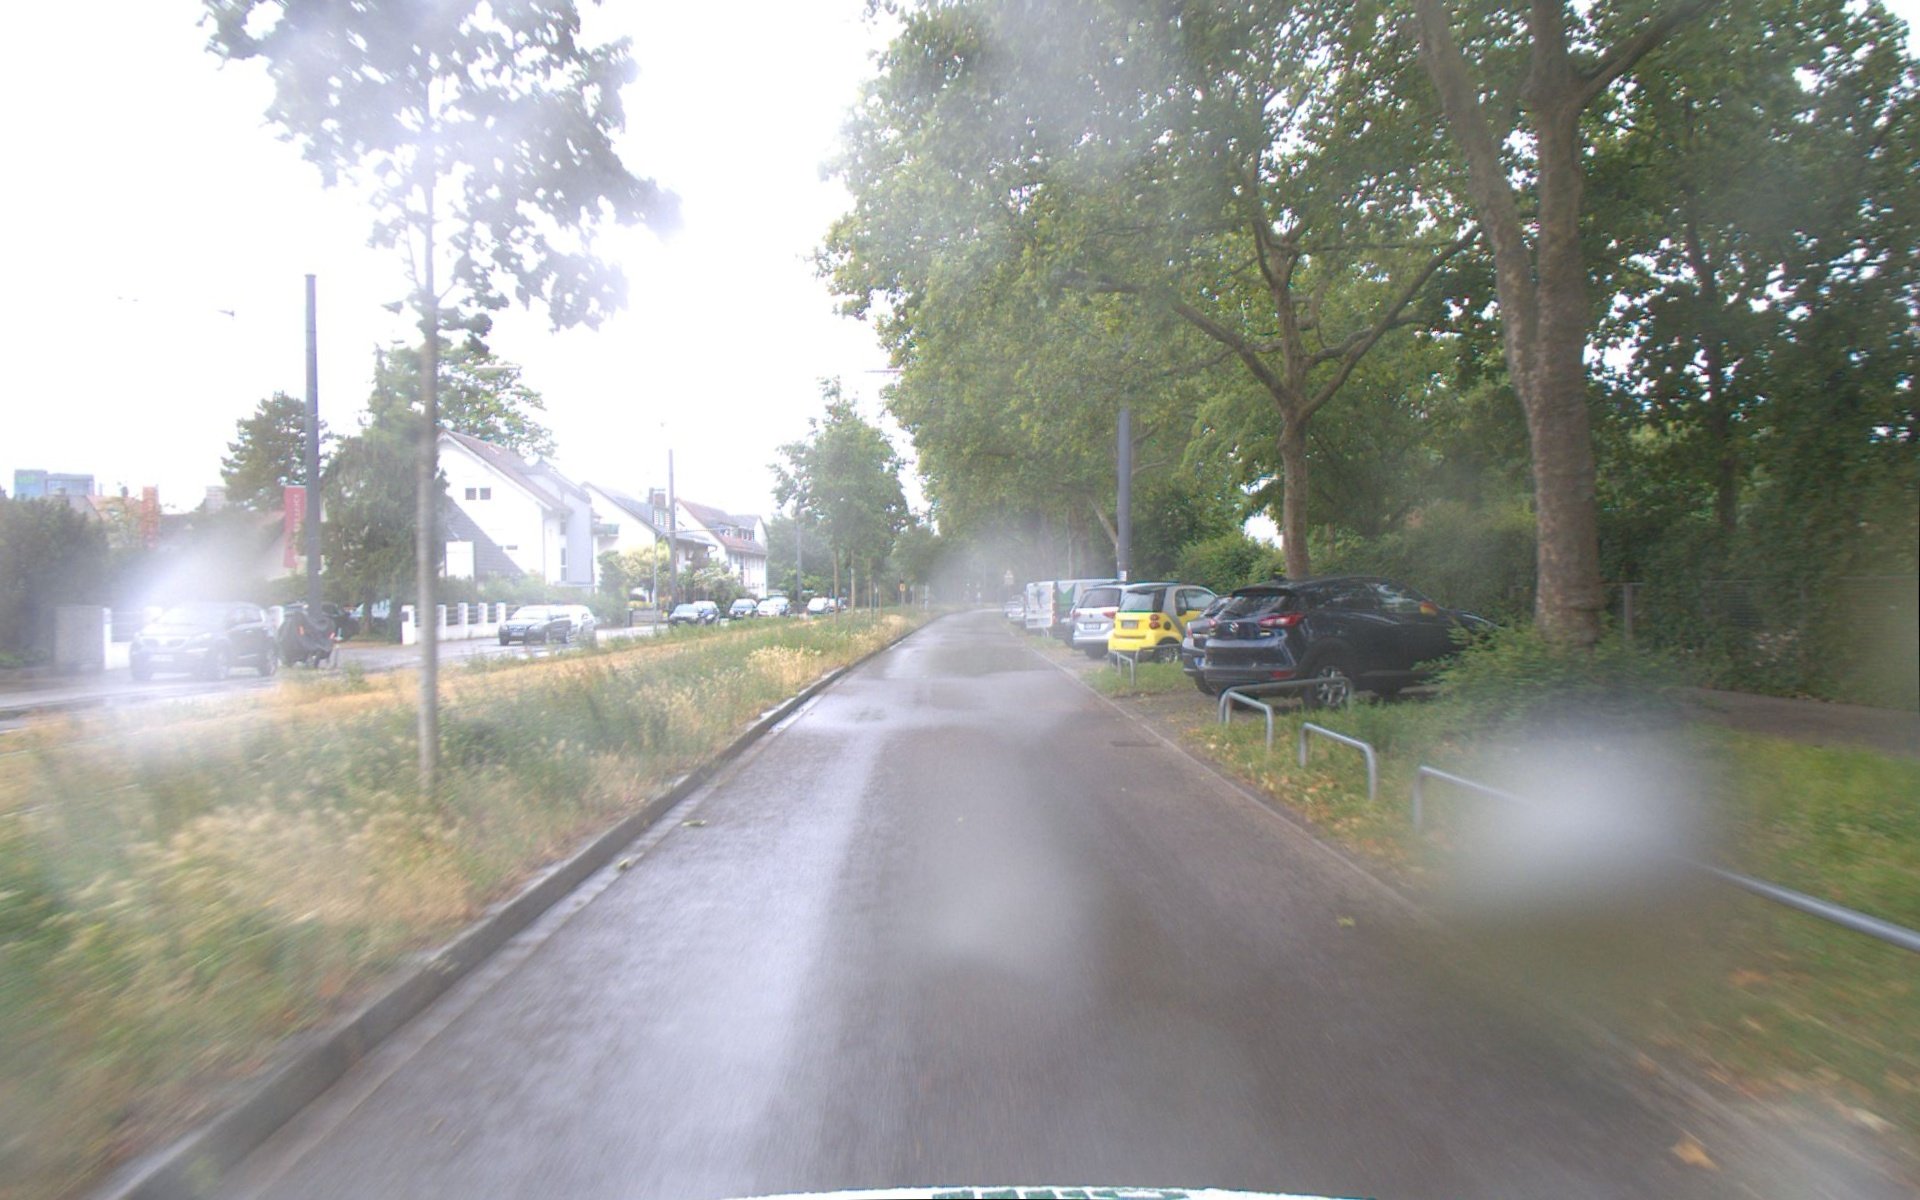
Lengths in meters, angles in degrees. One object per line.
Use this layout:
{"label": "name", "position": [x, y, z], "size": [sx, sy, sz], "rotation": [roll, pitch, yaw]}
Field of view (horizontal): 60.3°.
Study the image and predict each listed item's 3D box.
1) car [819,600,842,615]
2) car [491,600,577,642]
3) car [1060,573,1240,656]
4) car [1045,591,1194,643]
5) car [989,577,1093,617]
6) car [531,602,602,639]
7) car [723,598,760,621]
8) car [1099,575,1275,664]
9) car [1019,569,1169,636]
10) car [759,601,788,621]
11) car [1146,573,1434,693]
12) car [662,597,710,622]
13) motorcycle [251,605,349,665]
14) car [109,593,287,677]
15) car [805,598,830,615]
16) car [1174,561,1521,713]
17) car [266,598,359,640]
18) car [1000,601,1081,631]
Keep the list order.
{"label": "car", "position": [-13.741, 0.788, 175.353], "size": [1.952, 1.514, 4.206], "rotation": [1, 0, 2]}
{"label": "car", "position": [-16.110, 0.773, 62.788], "size": [1.952, 1.481, 4.532], "rotation": [1, 0, 2]}
{"label": "car", "position": [4.302, 0.308, 37.210], "size": [4.007, 1.669, 1.632], "rotation": [-2, 0, -39]}
{"label": "car", "position": [4.527, 0.451, 46.668], "size": [4.265, 1.408, 1.716], "rotation": [-1, 0, -40]}
{"label": "car", "position": [3.760, -0.153, 76.391], "size": [4.503, 1.571, 1.867], "rotation": [-4, 2, -32]}
{"label": "car", "position": [-16.242, 0.821, 68.423], "size": [1.953, 1.435, 3.971], "rotation": [1, 0, 0]}
{"label": "car", "position": [-15.713, 0.670, 119.258], "size": [1.952, 1.543, 4.206], "rotation": [1, 0, 2]}
{"label": "car", "position": [4.252, 0.360, 30.960], "size": [2.864, 1.492, 1.588], "rotation": [-3, 0, -29]}
{"label": "car", "position": [4.621, 0.060, 56.670], "size": [4.972, 2.048, 1.975], "rotation": [-3, 1, -35]}
{"label": "car", "position": [-14.770, 0.860, 131.017], "size": [1.759, 1.514, 3.598], "rotation": [1, 0, 2]}
{"label": "car", "position": [4.691, 0.438, 23.278], "size": [4.020, 1.443, 1.719], "rotation": [-3, 0, -37]}
{"label": "car", "position": [-16.016, 0.567, 96.988], "size": [1.952, 1.374, 4.241], "rotation": [1, 0, 2]}
{"label": "motorcycle", "position": [-16.554, 0.866, 41.437], "size": [2.640, 1.436, 1.259], "rotation": [0, -1, 42]}
{"label": "car", "position": [-16.434, 0.712, 35.942], "size": [1.953, 1.704, 4.386], "rotation": [0, 0, -2]}
{"label": "car", "position": [-13.929, 0.606, 161.749], "size": [1.952, 1.608, 4.518], "rotation": [1, 0, 2]}
{"label": "car", "position": [4.634, 0.385, 19.743], "size": [3.751, 1.559, 1.865], "rotation": [-2, 1, -29]}
{"label": "car", "position": [-24.360, 0.704, 62.392], "size": [1.953, 1.481, 3.918], "rotation": [1, 0, 0]}
{"label": "car", "position": [4.923, 0.966, 100.486], "size": [4.723, 1.697, 1.969], "rotation": [-2, 0, -36]}
